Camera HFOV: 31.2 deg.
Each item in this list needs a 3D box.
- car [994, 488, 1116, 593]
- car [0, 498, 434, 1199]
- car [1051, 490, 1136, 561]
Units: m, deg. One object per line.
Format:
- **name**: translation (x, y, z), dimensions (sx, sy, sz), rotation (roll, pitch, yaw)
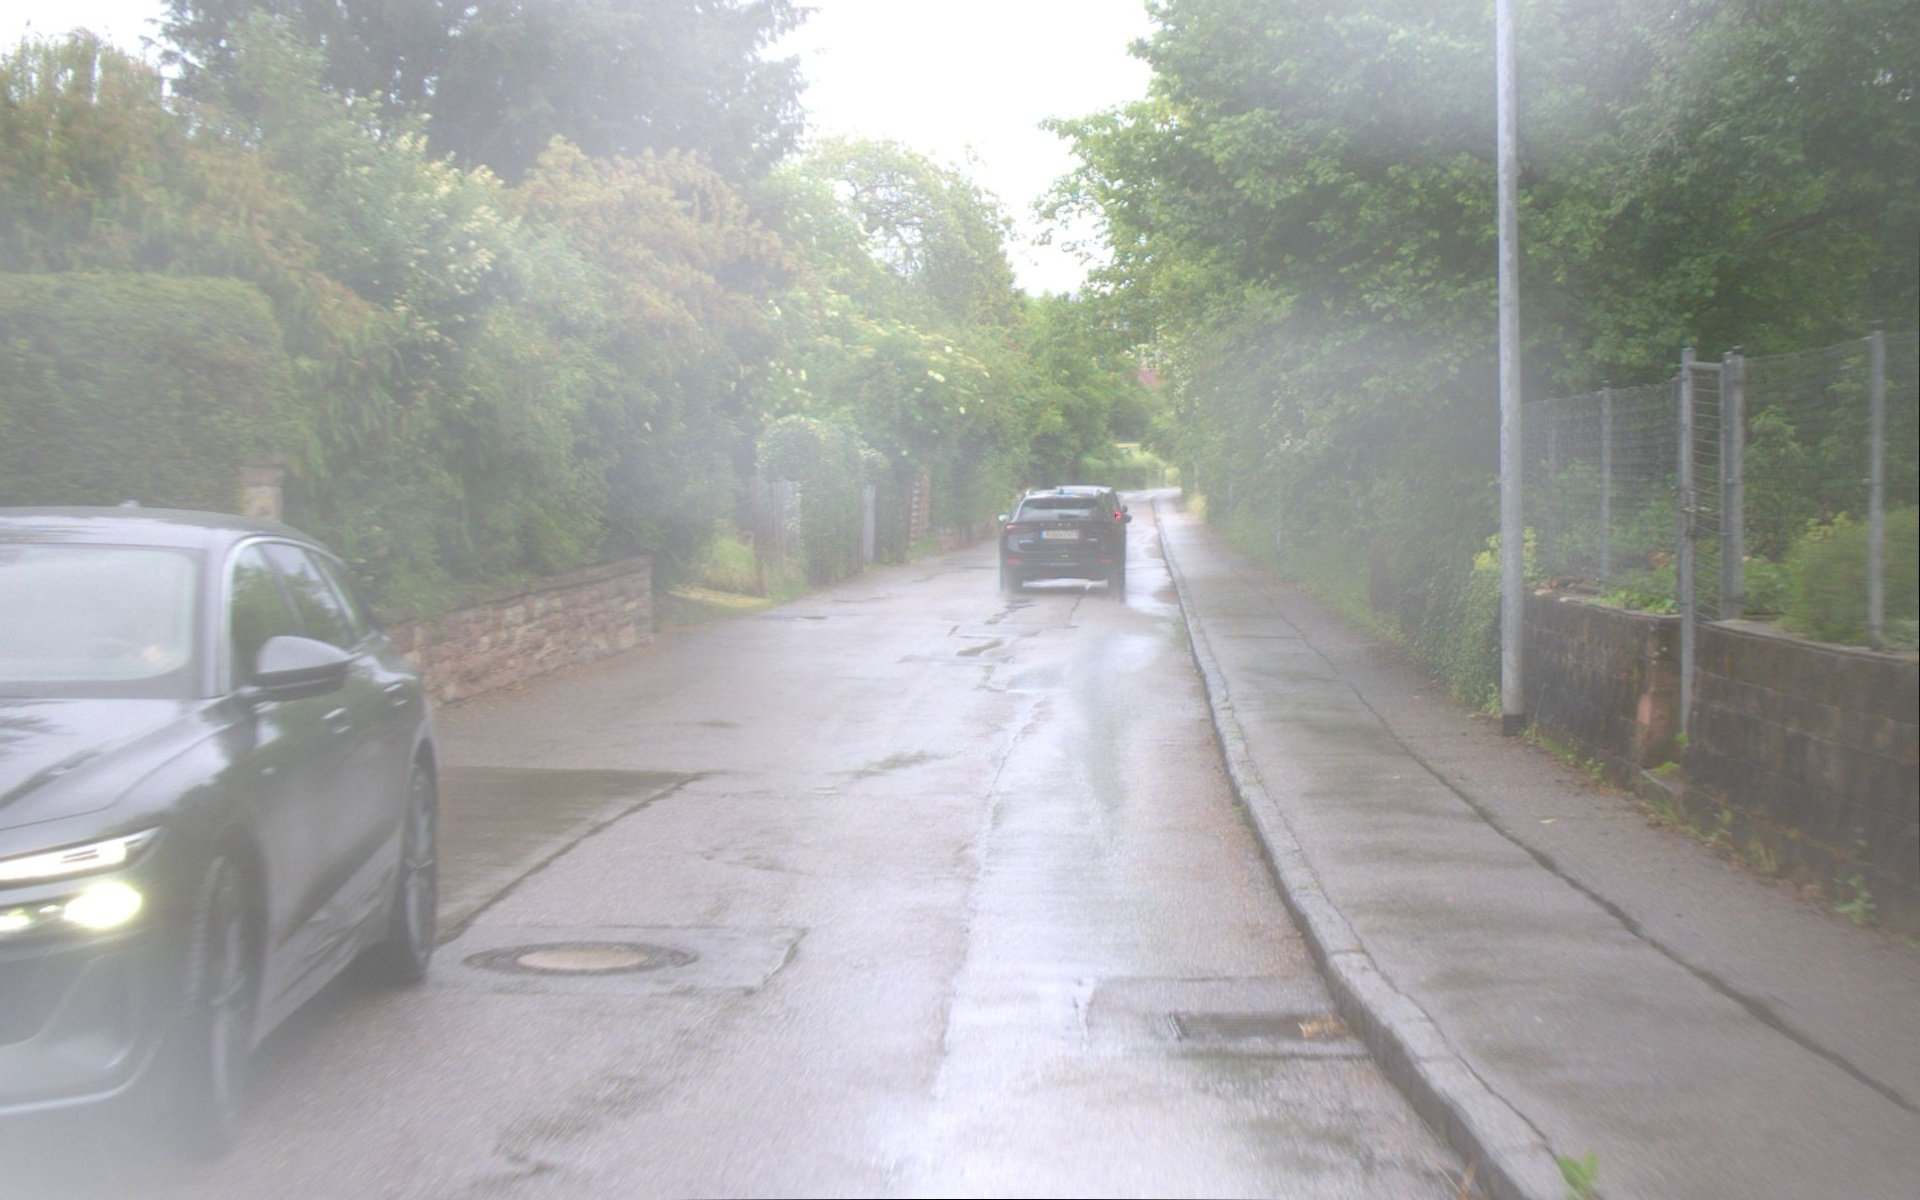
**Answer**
- **car**: translation (1.397, -0.846, 49.460), dimensions (1.635, 1.445, 3.544), rotation (0, 1, 3)
- **car**: translation (-2.628, 0.502, 9.225), dimensions (1.888, 1.518, 4.422), rotation (0, 1, -2)
- **car**: translation (2.761, -1.508, 70.719), dimensions (1.635, 1.409, 3.544), rotation (0, 1, 4)
